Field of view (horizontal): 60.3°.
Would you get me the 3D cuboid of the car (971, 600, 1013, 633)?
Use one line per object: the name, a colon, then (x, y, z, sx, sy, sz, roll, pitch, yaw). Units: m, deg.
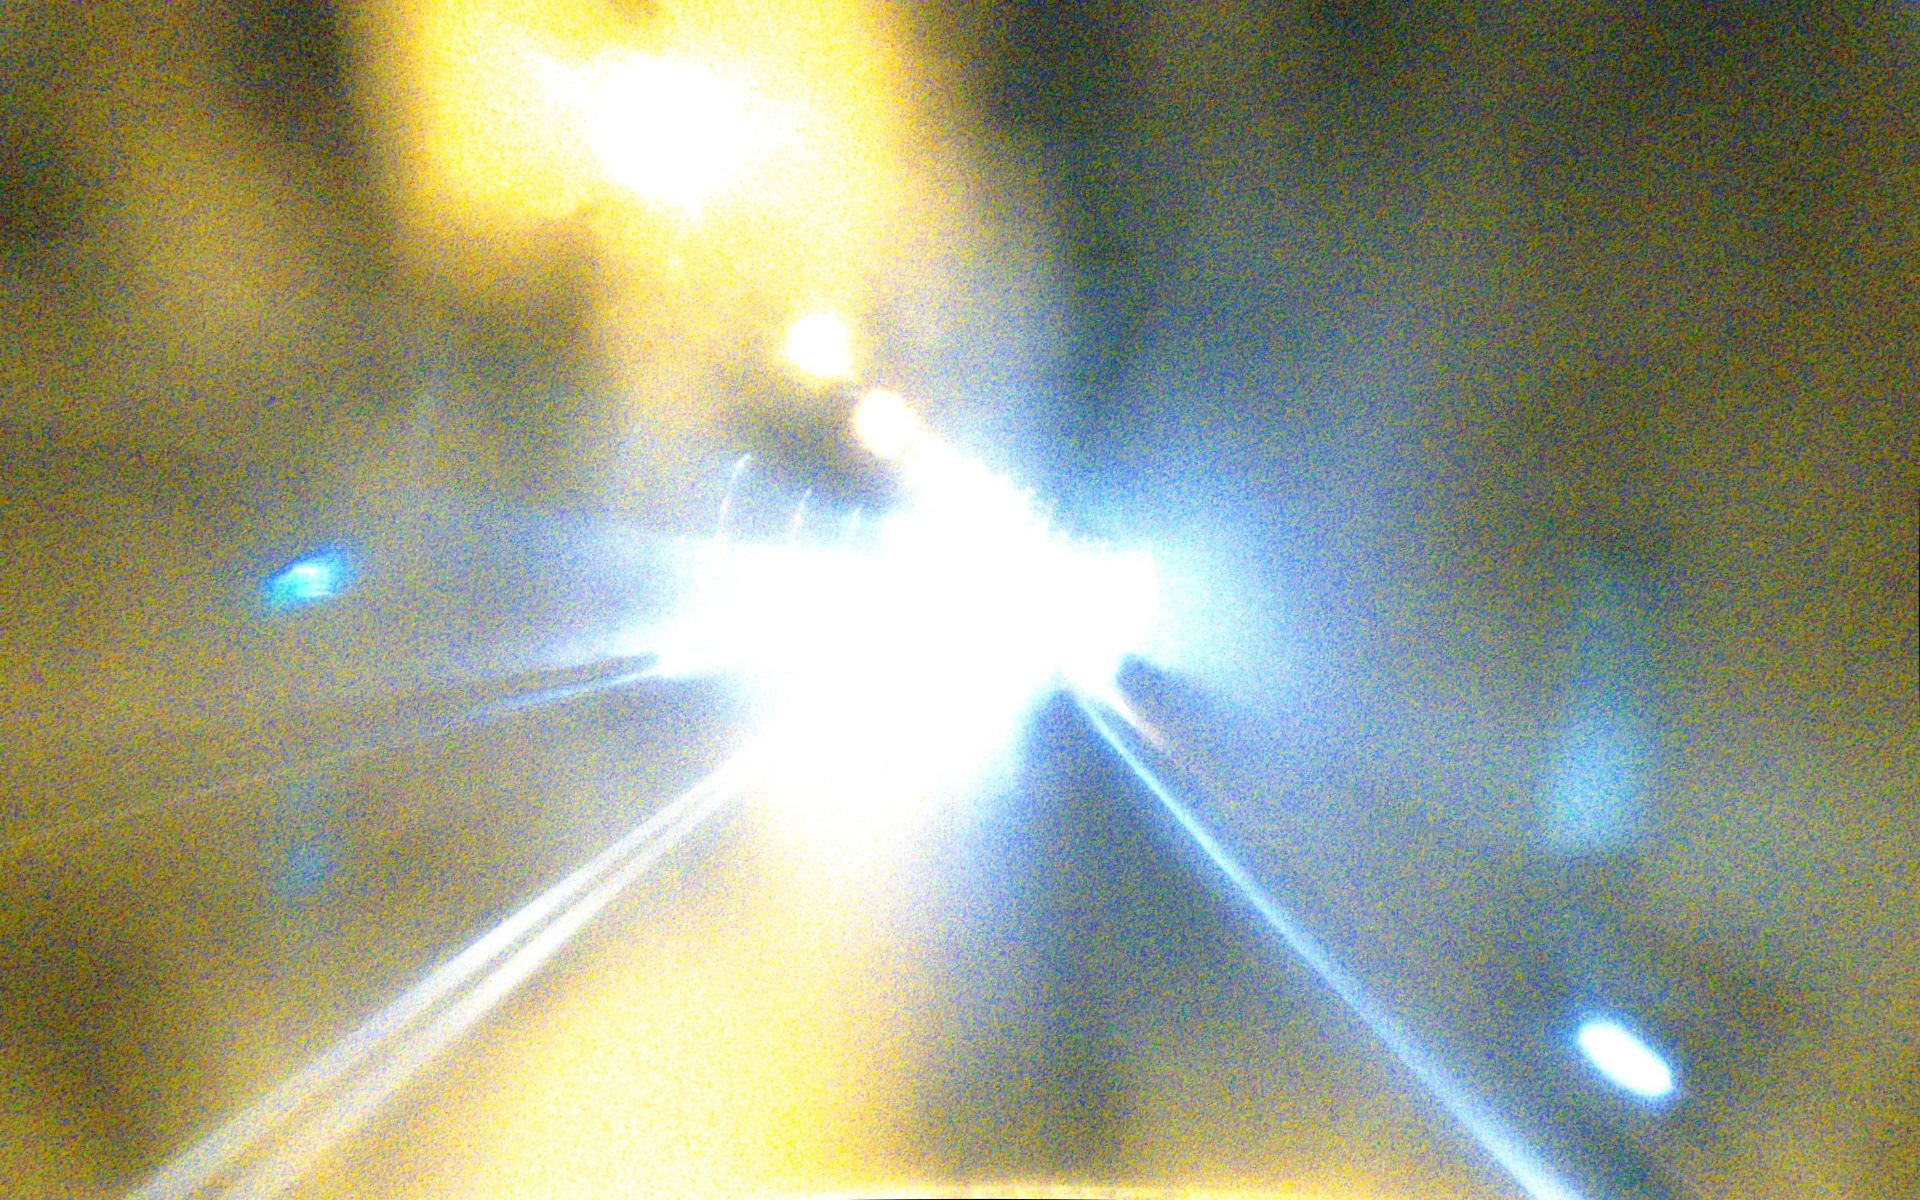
car: (1.512, 0.759, 79.397, 1.594, 1.472, 3.933, 1, 0, -4)

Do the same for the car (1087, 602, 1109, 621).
car: (10.739, 0.902, 128.514, 1.595, 1.422, 4.003, 1, 0, 6)

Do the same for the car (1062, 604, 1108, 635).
car: (7.143, 1.081, 94.321, 1.951, 1.679, 4.003, 1, 0, 14)
